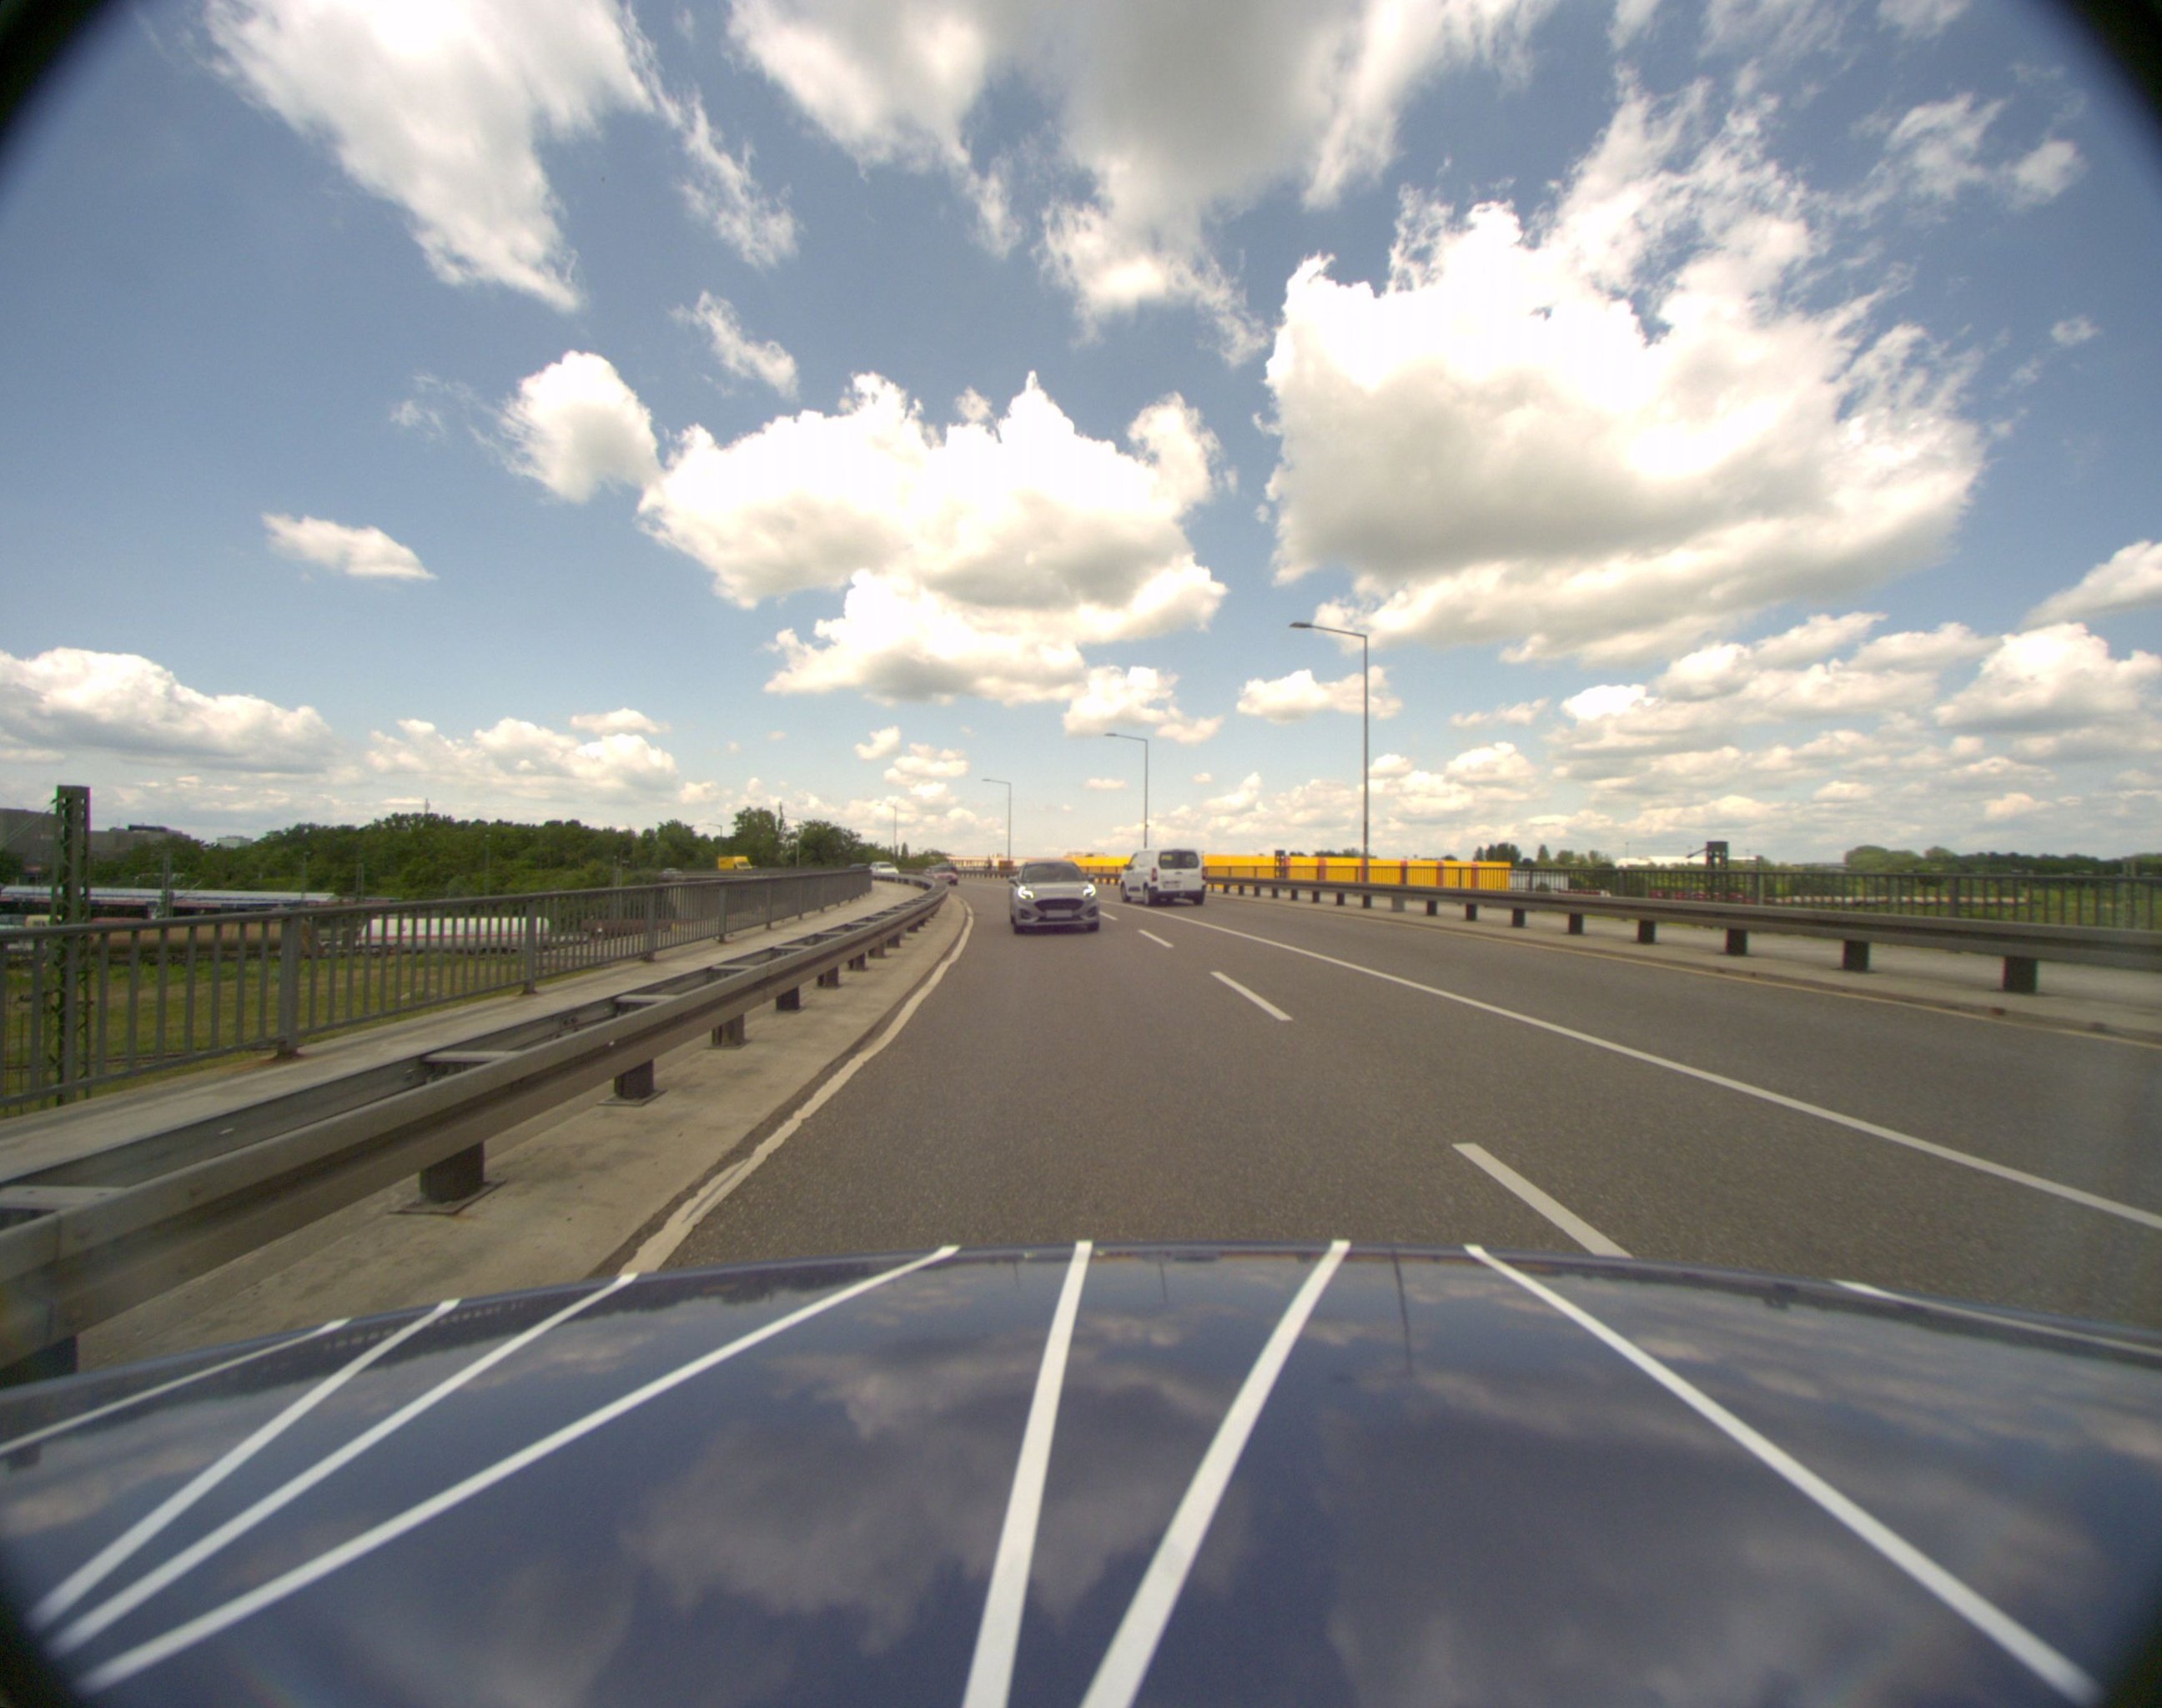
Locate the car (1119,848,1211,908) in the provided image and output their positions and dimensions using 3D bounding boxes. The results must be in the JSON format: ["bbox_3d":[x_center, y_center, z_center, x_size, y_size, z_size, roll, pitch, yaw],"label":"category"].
[{"bbox_3d":[2.615,0.714,24.651,1.819,1.743,4.302,-1,0,-10],"label":"car"}]

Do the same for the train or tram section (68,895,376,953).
[{"bbox_3d":[-73.083,5.853,65.610,17.722,4.130,3.204,1,2,-26],"label":"train or tram section"}]

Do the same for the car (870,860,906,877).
[{"bbox_3d":[-17.720,1.312,69.608,1.962,1.330,3.990,-3,1,-33],"label":"car"}]

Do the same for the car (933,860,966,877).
[{"bbox_3d":[-11.693,1.282,67.410,1.823,1.443,3.918,-2,0,-26],"label":"car"}]

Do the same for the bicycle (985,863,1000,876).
[{"bbox_3d":[-8.089,1.392,69.345,0.772,1.088,2.111,-1,0,-23],"label":"bicycle"}]

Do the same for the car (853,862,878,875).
[{"bbox_3d":[-25.296,1.677,89.003,1.825,1.443,4.727,-1,0,-27],"label":"car"}]

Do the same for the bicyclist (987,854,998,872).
[{"bbox_3d":[-8.034,0.799,69.190,0.770,1.593,0.945,-1,1,-23],"label":"bicyclist"}]

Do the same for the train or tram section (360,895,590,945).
[{"bbox_3d":[-57.015,6.123,72.372,16.981,4.130,3.211,1,2,-20],"label":"train or tram section"}]

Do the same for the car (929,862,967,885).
[{"bbox_3d":[-8.857,1.261,50.516,1.830,1.330,3.993,-2,0,-19],"label":"car"}]

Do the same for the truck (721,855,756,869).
[{"bbox_3d":[-47.938,1.102,106.286,6.127,2.002,2.004,0,0,39],"label":"truck"}]

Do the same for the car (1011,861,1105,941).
[{"bbox_3d":[-0.642,0.960,17.162,1.828,1.516,3.998,-2,0,-5],"label":"car"}]

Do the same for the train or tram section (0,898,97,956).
[{"bbox_3d":[-89.014,5.690,57.652,17.724,4.130,3.204,1,2,-27],"label":"train or tram section"}]
